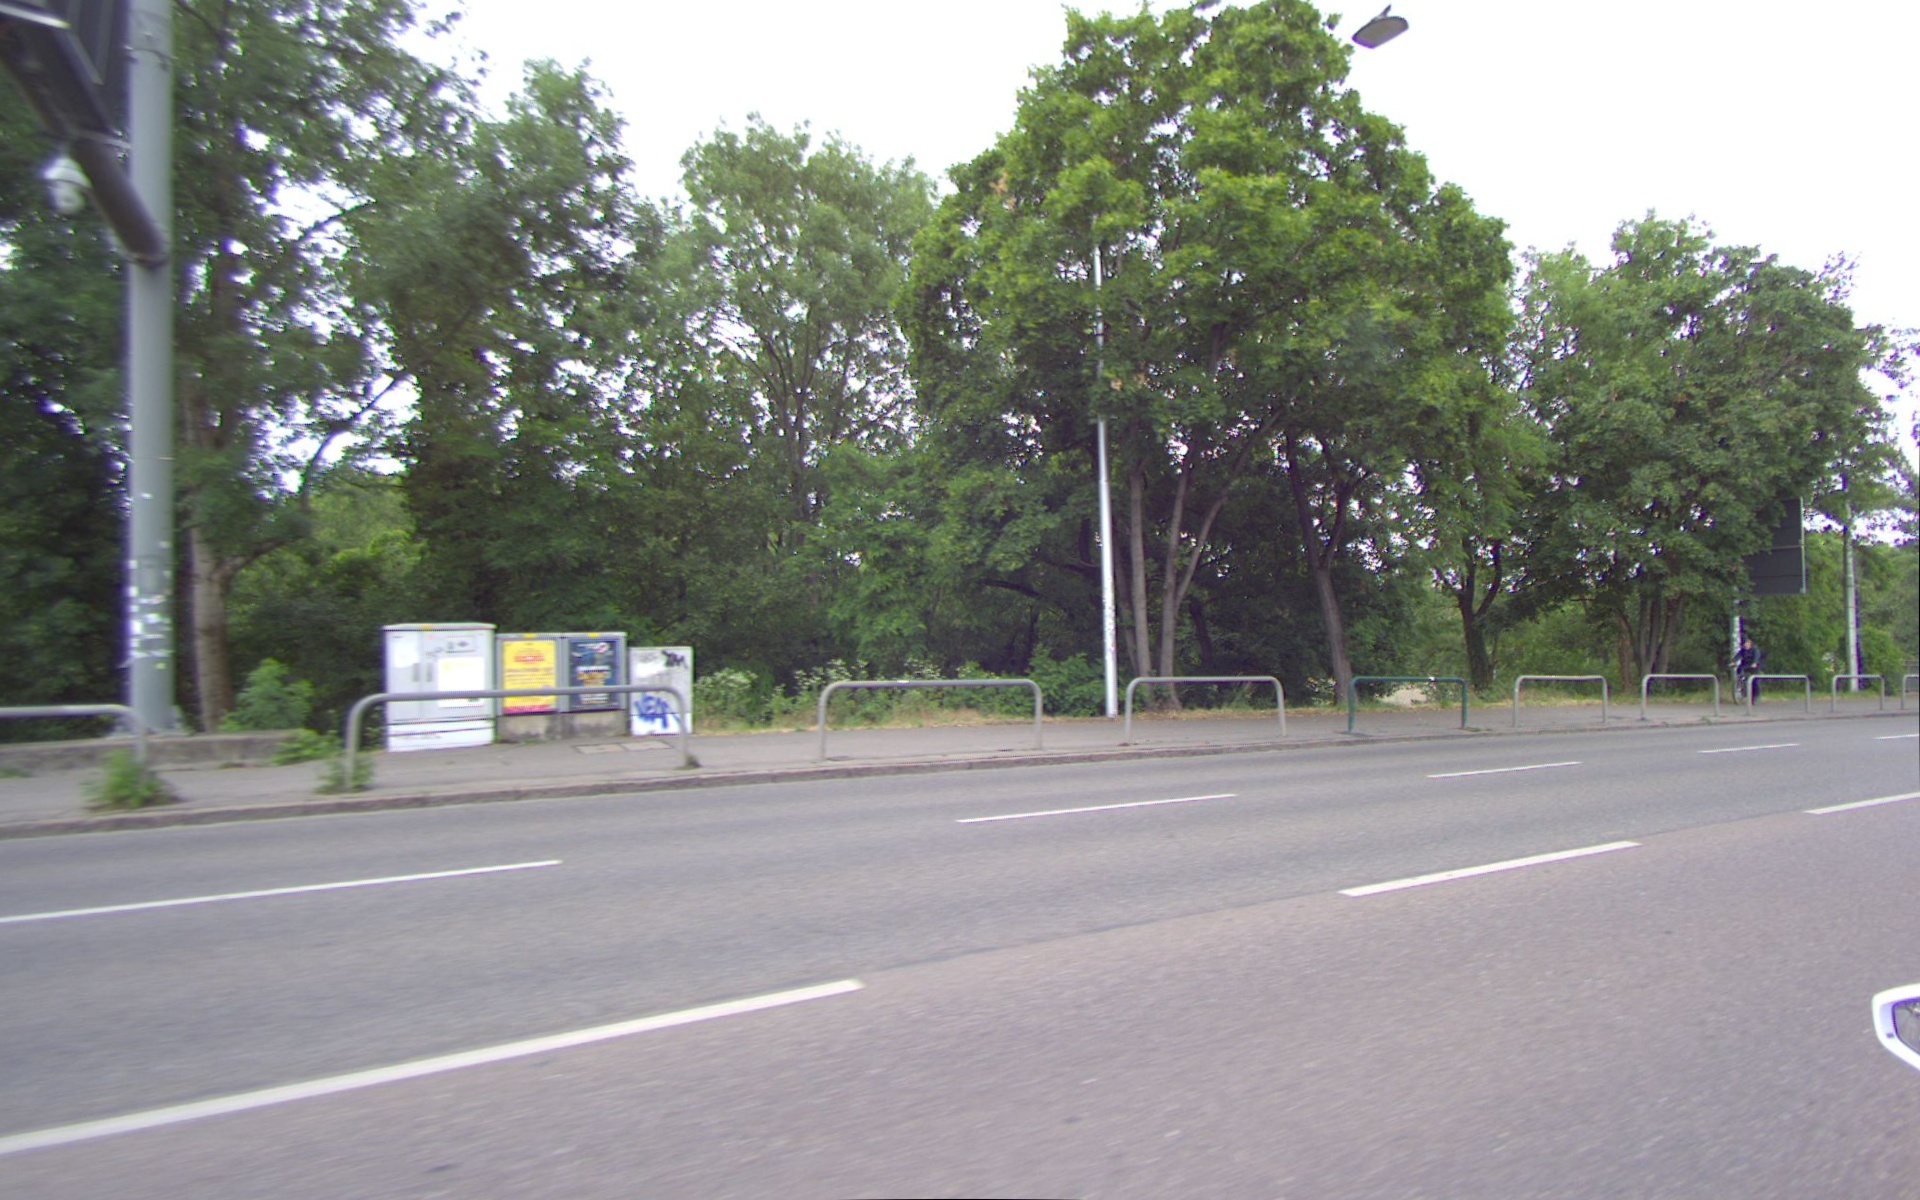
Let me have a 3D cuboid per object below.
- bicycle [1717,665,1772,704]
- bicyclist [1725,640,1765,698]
[{"bbox_3d":[21.078,2.253,26.979,1.979,1.015,0.482,2,-3,-31],"label":"bicycle"},{"bbox_3d":[21.083,1.851,26.986,0.973,1.536,0.512,2,-3,-31],"label":"bicyclist"}]
